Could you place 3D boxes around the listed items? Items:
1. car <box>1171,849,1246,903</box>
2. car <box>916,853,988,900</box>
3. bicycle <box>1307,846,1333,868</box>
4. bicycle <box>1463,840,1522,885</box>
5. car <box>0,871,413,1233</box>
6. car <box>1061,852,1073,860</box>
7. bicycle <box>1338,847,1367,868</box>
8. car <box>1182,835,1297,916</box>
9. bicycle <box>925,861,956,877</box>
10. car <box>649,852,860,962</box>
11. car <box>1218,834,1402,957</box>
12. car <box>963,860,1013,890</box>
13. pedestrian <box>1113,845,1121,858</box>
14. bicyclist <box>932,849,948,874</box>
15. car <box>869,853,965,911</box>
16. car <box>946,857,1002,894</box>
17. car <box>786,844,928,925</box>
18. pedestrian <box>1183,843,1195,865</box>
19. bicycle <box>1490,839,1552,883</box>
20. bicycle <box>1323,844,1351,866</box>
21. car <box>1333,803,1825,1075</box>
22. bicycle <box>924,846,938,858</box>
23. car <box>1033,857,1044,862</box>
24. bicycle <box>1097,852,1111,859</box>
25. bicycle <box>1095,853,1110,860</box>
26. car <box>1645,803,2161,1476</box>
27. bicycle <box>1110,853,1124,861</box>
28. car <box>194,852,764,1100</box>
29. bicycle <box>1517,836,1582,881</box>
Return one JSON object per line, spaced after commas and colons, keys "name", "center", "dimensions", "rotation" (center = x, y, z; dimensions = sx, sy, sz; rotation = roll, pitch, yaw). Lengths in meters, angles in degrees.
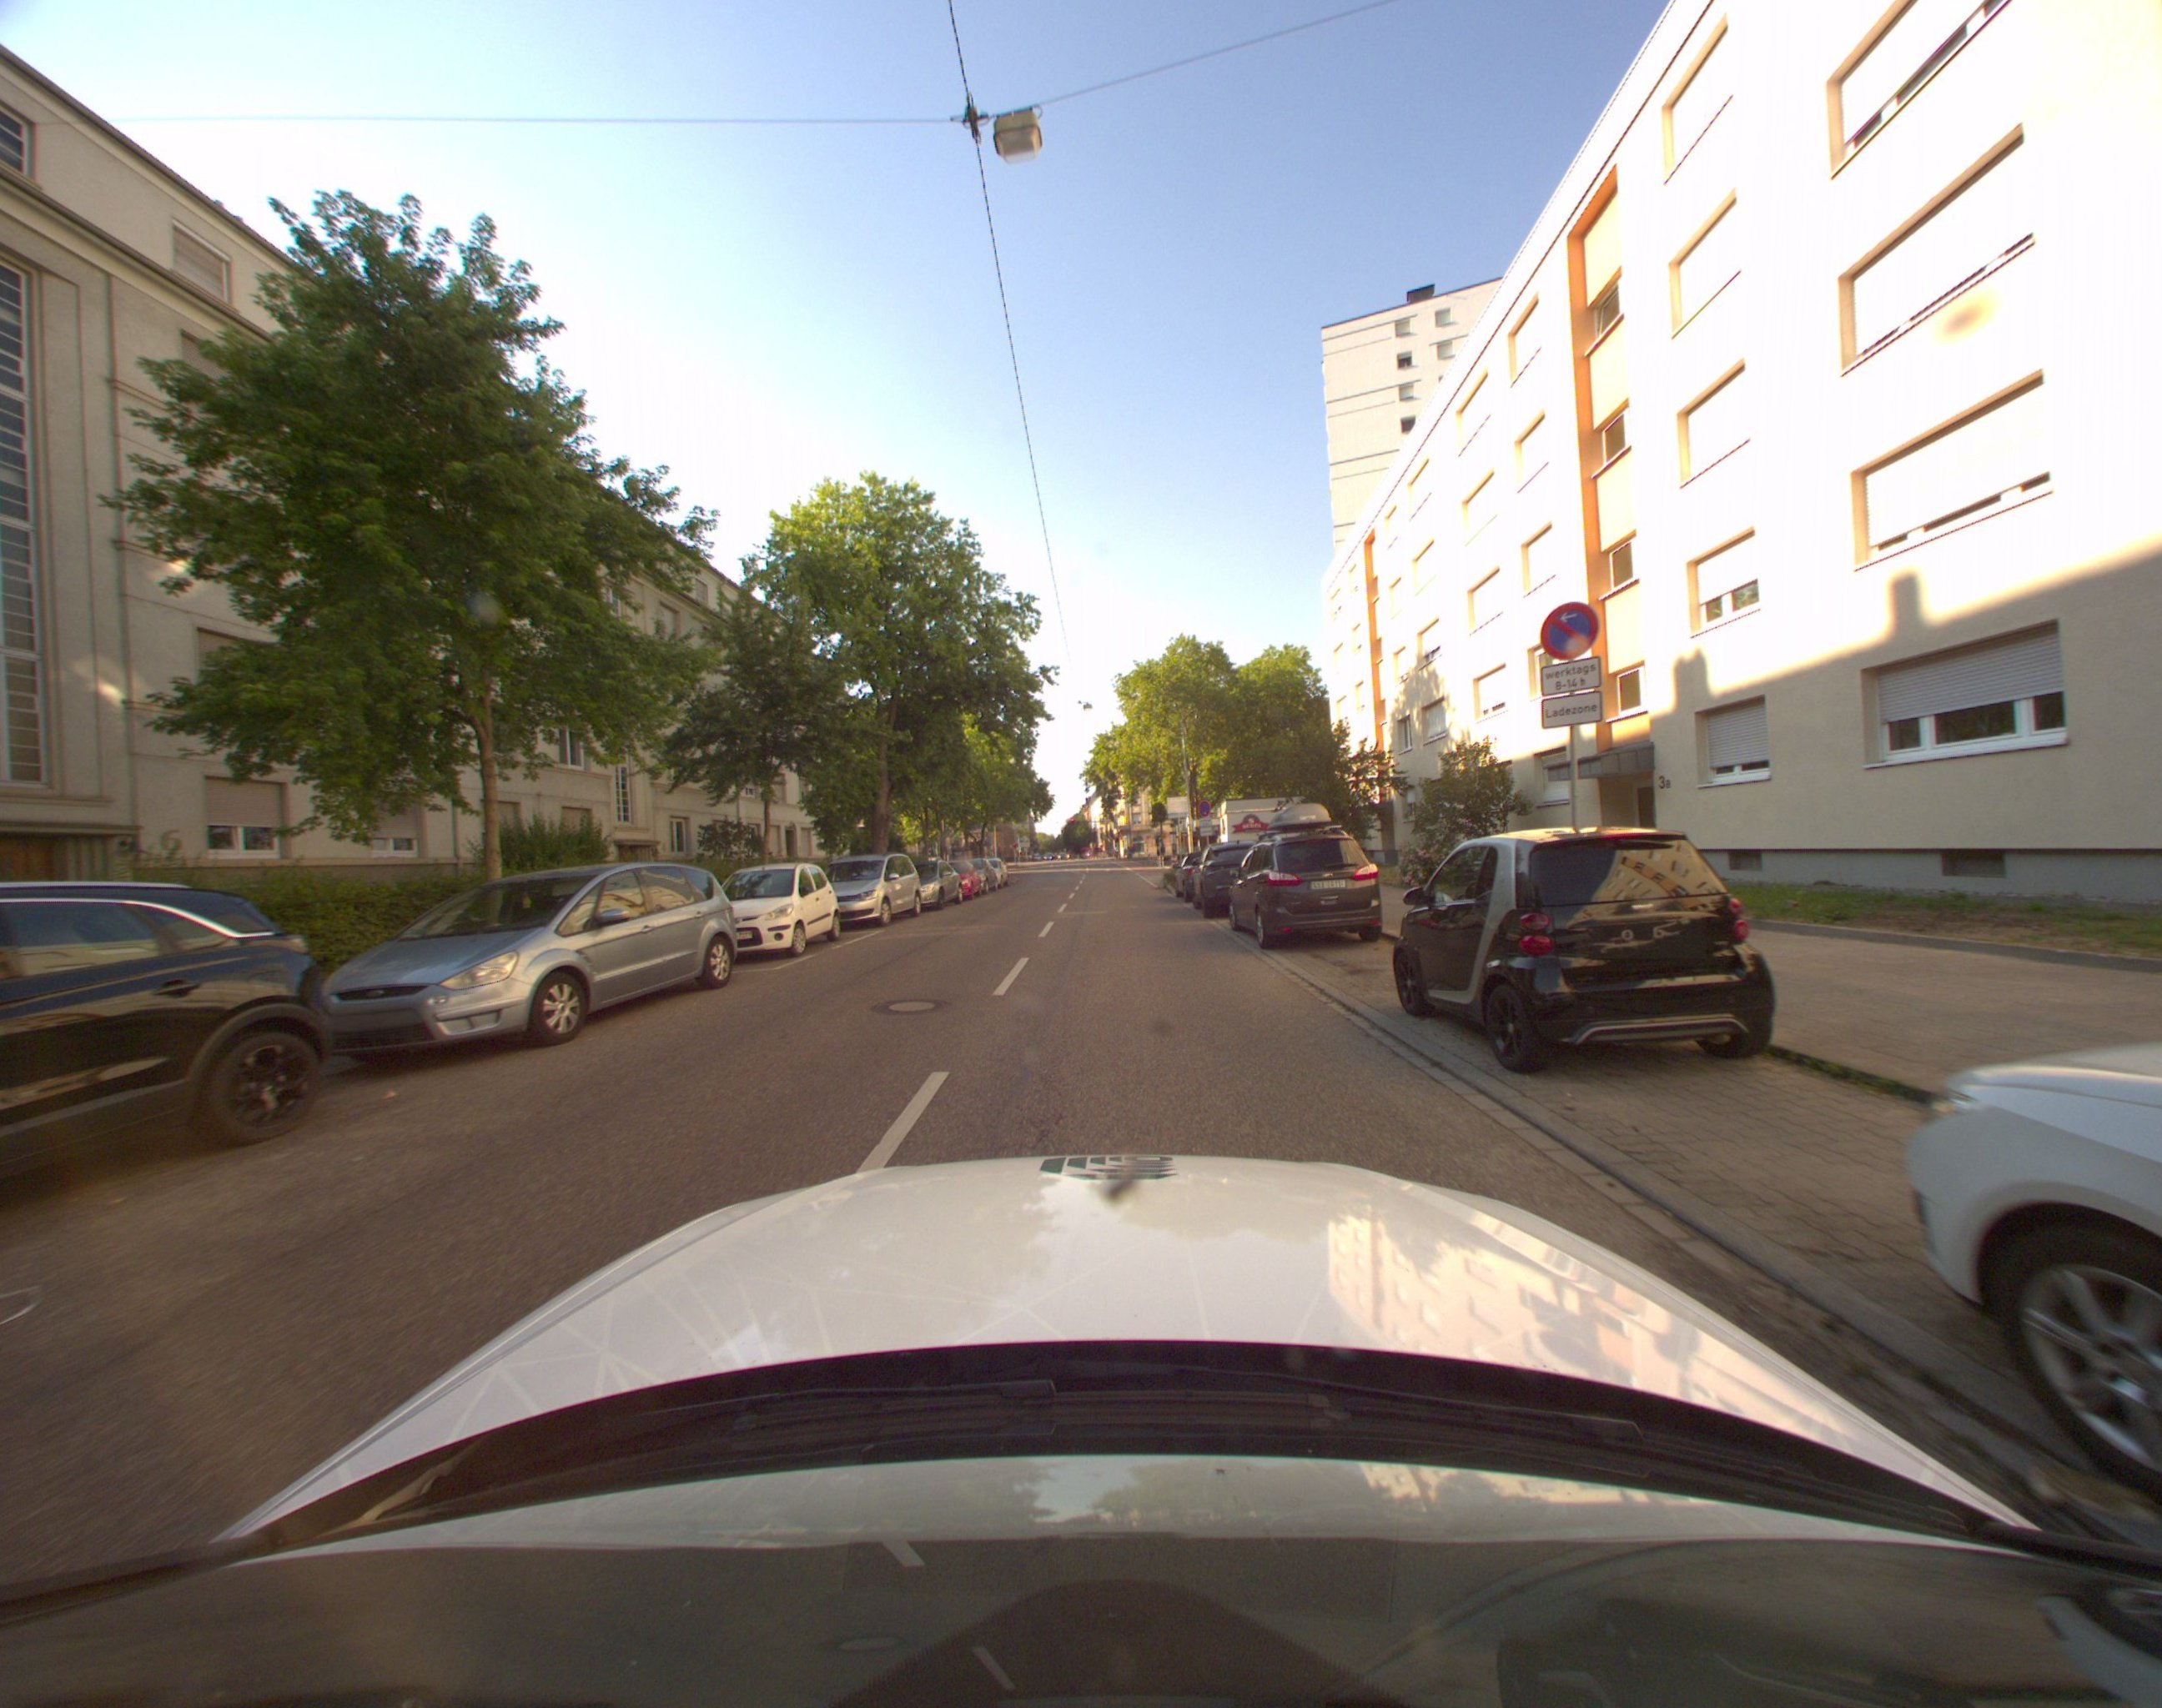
{"name": "car", "center": [3.758, 0.641, 24.649], "dimensions": [1.734, 1.473, 4.001], "rotation": [-1, -1, 2]}
{"name": "car", "center": [-4.603, 0.782, 29.658], "dimensions": [1.864, 1.558, 4.001], "rotation": [-1, -1, 2]}
{"name": "bicycle", "center": [11.124, 0.119, 37.983], "dimensions": [0.634, 0.925, 2.231], "rotation": [-1, 1, 2]}
{"name": "bicycle", "center": [10.002, 0.211, 19.853], "dimensions": [0.609, 1.021, 1.835], "rotation": [-1, -1, 4]}
{"name": "car", "center": [-5.669, 0.922, 3.486], "dimensions": [1.864, 1.558, 4.367], "rotation": [-4, -1, 2]}
{"name": "car", "center": [-2.942, 0.448, 166.428], "dimensions": [1.575, 1.462, 3.196], "rotation": [-1, -1, 15]}
{"name": "bicycle", "center": [12.763, 0.151, 38.334], "dimensions": [0.634, 0.925, 2.231], "rotation": [-1, 1, 2]}
{"name": "car", "center": [3.613, 0.483, 19.384], "dimensions": [1.920, 1.659, 4.679], "rotation": [-1, -1, 2]}
{"name": "bicycle", "center": [-11.390, 1.244, 66.114], "dimensions": [0.998, 1.264, 2.499], "rotation": [-2, -1, 36]}
{"name": "car", "center": [-5.408, 0.821, 14.129], "dimensions": [1.864, 1.558, 4.102], "rotation": [-2, -1, 2]}
{"name": "car", "center": [3.573, 0.574, 13.596], "dimensions": [1.891, 1.651, 4.344], "rotation": [-3, 0, 1]}
{"name": "car", "center": [-4.452, 0.989, 39.680], "dimensions": [1.763, 1.352, 4.712], "rotation": [-1, -1, 2]}
{"name": "pedestrian", "center": [4.911, -0.369, 111.310], "dimensions": [0.982, 1.708, 0.632], "rotation": [-2, -1, 29]}
{"name": "bicyclist", "center": [-11.414, 0.644, 66.112], "dimensions": [0.964, 2.014, 0.802], "rotation": [-2, -1, 36]}
{"name": "car", "center": [-4.883, 0.812, 24.894], "dimensions": [1.864, 1.558, 4.498], "rotation": [-1, -1, 2]}
{"name": "car", "center": [-4.522, 0.902, 34.967], "dimensions": [1.697, 1.440, 4.130], "rotation": [-1, -1, 2]}
{"name": "car", "center": [-5.213, 0.674, 19.705], "dimensions": [1.909, 1.677, 4.975], "rotation": [-1, -1, 2]}
{"name": "pedestrian", "center": [10.343, 0.042, 78.130], "dimensions": [0.824, 2.013, 1.153], "rotation": [-6, -1, 1]}
{"name": "bicycle", "center": [10.672, 0.178, 19.815], "dimensions": [0.609, 1.021, 1.835], "rotation": [-1, -1, 4]}
{"name": "bicycle", "center": [12.024, 0.036, 38.325], "dimensions": [0.634, 0.925, 2.231], "rotation": [-1, 1, 2]}
{"name": "car", "center": [3.488, 0.520, 6.712], "dimensions": [1.600, 1.494, 4.042], "rotation": [-2, -1, 1]}
{"name": "bicycle", "center": [-14.894, -0.149, 80.800], "dimensions": [0.715, 1.145, 3.292], "rotation": [-1, -1, 2]}
{"name": "car", "center": [-9.960, 1.201, 192.562], "dimensions": [1.582, 1.144, 3.398], "rotation": [-1, -1, 17]}
{"name": "bicycle", "center": [4.482, 0.263, 158.969], "dimensions": [2.799, 1.203, 0.516], "rotation": [-1, -1, -5]}
{"name": "bicycle", "center": [4.097, 0.525, 157.242], "dimensions": [2.799, 1.203, 0.509], "rotation": [-1, -1, -5]}
{"name": "car", "center": [3.065, 0.562, 0.905], "dimensions": [1.673, 1.415, 4.725], "rotation": [-2, -1, 2]}
{"name": "bicycle", "center": [4.966, 0.400, 111.297], "dimensions": [1.767, 0.982, 0.661], "rotation": [-2, -1, 29]}
{"name": "car", "center": [-5.359, 0.877, 8.441], "dimensions": [1.864, 1.558, 5.058], "rotation": [-7, 0, 1]}
{"name": "bicycle", "center": [11.370, 0.117, 19.815], "dimensions": [0.609, 1.021, 1.835], "rotation": [-1, -1, 4]}
